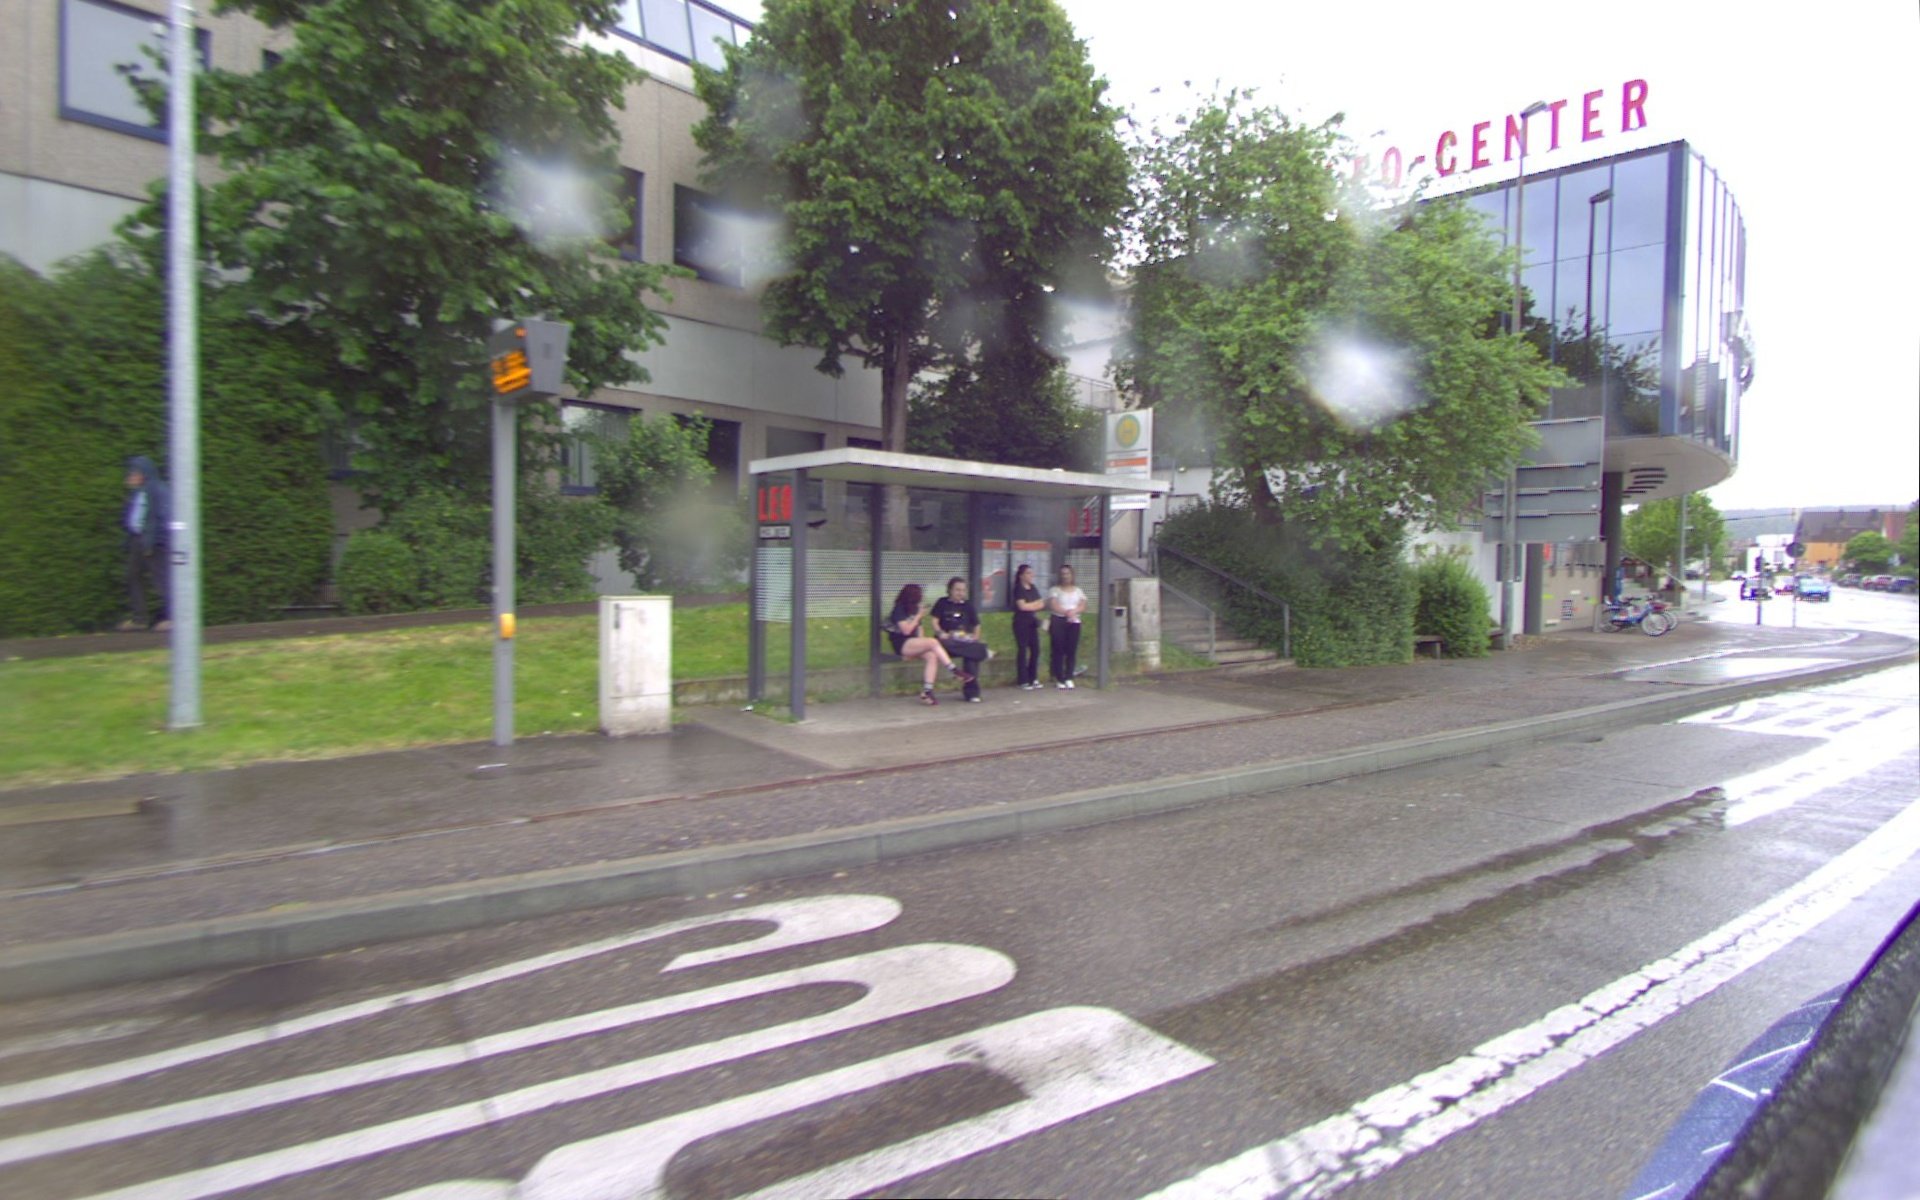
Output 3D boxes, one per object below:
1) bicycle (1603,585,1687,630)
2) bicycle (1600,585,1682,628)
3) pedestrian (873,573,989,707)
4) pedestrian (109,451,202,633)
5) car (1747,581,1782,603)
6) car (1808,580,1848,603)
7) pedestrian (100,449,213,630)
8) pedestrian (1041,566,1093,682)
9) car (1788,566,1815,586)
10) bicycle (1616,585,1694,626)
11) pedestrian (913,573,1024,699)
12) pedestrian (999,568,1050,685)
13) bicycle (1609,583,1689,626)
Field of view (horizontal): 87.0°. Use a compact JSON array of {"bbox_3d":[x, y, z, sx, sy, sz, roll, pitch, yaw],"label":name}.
[{"bbox_3d":[19.289,0.192,28.509,0.682,1.124,1.812,0,3,-43],"label":"bicycle"},{"bbox_3d":[19.470,0.168,28.962,0.673,1.098,1.803,-1,4,-43],"label":"bicycle"},{"bbox_3d":[-0.315,0.389,10.777,0.680,1.297,1.031,0,4,-43],"label":"pedestrian"},{"bbox_3d":[-8.439,-0.600,10.617,0.672,1.819,0.663,1,2,44],"label":"pedestrian"},{"bbox_3d":[59.239,-0.621,74.557,1.891,1.545,3.946,2,2,38],"label":"car"},{"bbox_3d":[61.191,-0.609,71.383,1.891,1.545,3.946,2,2,38],"label":"car"},{"bbox_3d":[-8.530,-0.634,10.746,0.784,1.817,0.848,-4,3,-44],"label":"pedestrian"},{"bbox_3d":[1.319,0.291,12.543,0.533,1.382,0.412,2,3,1],"label":"pedestrian"},{"bbox_3d":[69.776,-2.002,83.972,1.576,1.660,3.591,1,2,38],"label":"car"},{"bbox_3d":[21.134,0.141,30.803,0.683,1.123,1.832,-1,4,-43],"label":"bicycle"},{"bbox_3d":[0.087,0.375,11.419,0.680,1.297,1.031,0,4,-43],"label":"pedestrian"},{"bbox_3d":[0.775,0.314,12.341,0.533,1.382,0.412,2,3,0],"label":"pedestrian"},{"bbox_3d":[20.197,0.116,29.691,0.682,1.124,1.812,0,3,-43],"label":"bicycle"}]
